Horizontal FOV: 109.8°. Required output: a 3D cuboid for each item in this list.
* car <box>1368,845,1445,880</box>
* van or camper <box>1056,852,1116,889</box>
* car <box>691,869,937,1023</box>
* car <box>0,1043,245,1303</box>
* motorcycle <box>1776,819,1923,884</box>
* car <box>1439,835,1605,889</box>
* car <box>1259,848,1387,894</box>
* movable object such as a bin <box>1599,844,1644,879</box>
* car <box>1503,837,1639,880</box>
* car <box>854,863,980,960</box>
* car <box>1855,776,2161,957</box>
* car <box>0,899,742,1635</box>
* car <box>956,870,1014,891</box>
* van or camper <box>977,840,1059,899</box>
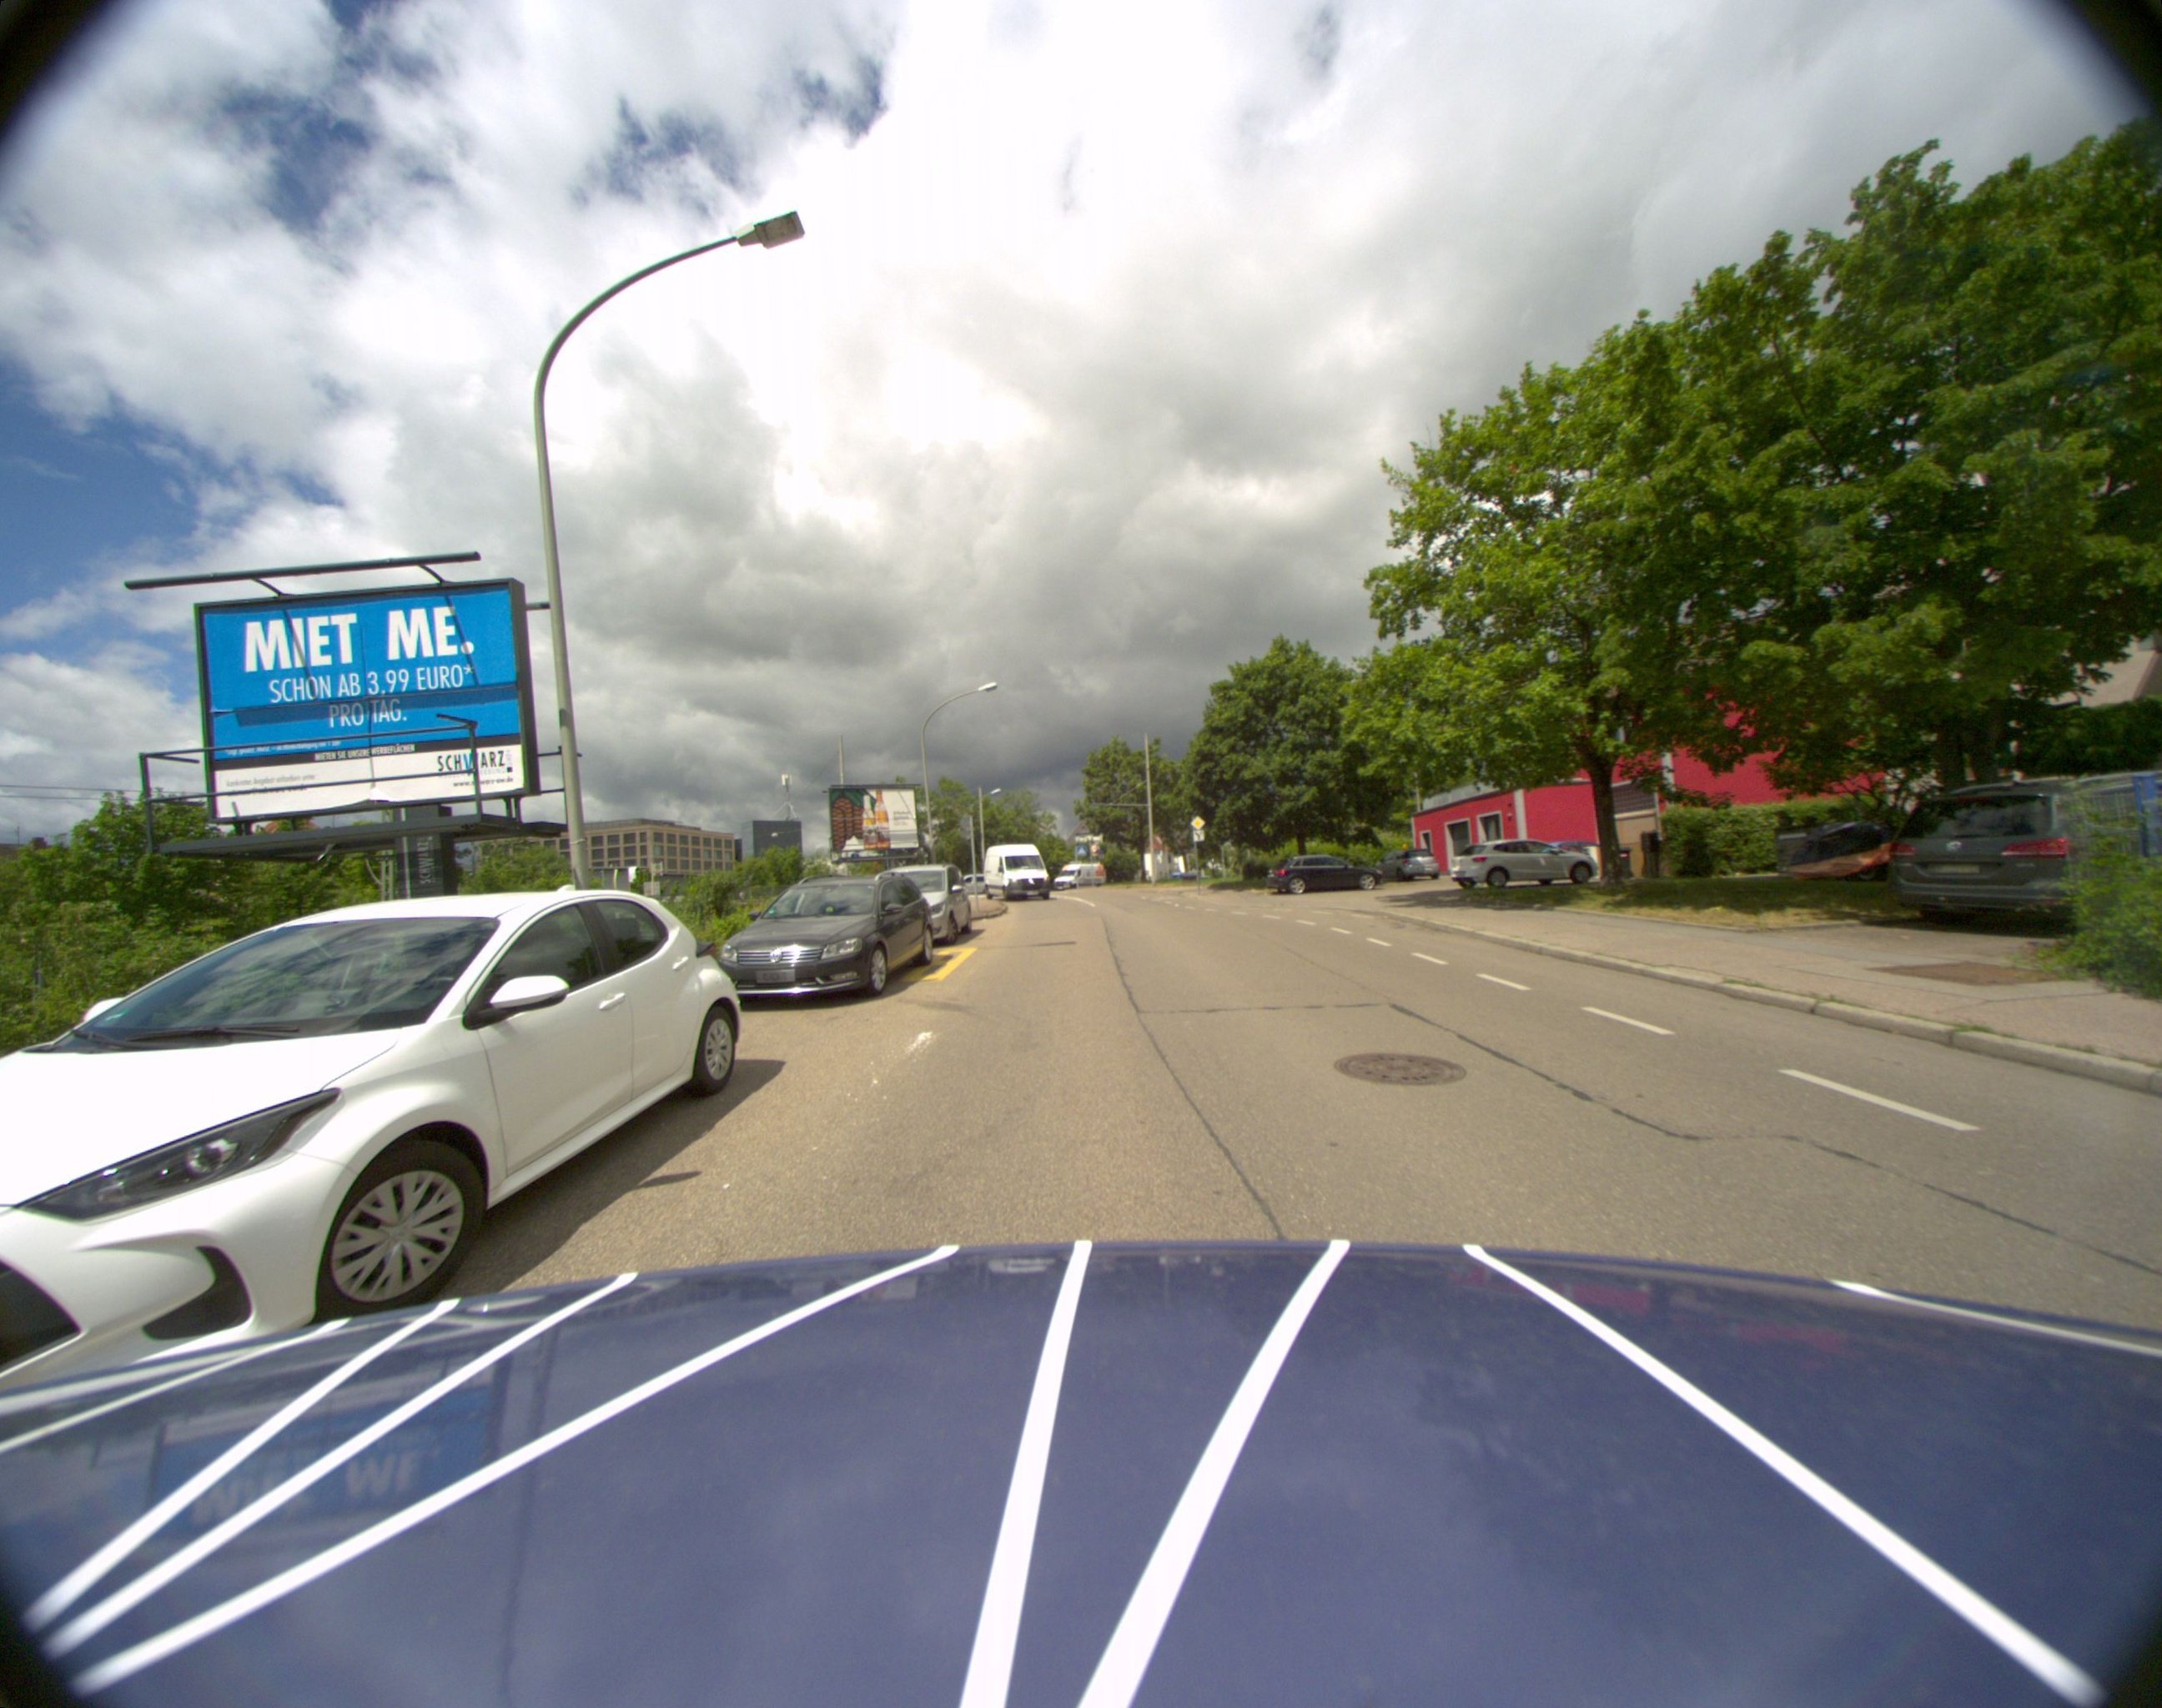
[{"bbox_3d":[14.836,0.407,34.858,1.644,1.417,4.078,-4,-1,-1],"label":"car"},{"bbox_3d":[0.598,1.697,72.891,2.267,2.975,8.347,-5,-6,26],"label":"van or camper"},{"bbox_3d":[-3.255,1.013,10.323,1.710,1.478,4.573,-4,-1,-1],"label":"car"},{"bbox_3d":[-8.721,2.560,5.267,1.710,1.501,3.696,-4,-1,-1],"label":"car"},{"bbox_3d":[17.227,-0.034,17.135,0.920,1.308,2.235,-4,0,-2],"label":"motorcycle"},{"bbox_3d":[13.271,0.239,22.999,3.930,1.395,1.876,-3,-1,-4],"label":"car"},{"bbox_3d":[9.143,0.660,28.919,4.141,1.385,2.000,-4,-1,-1],"label":"car"},{"bbox_3d":[17.300,0.239,24.348,0.757,1.055,0.881,-4,0,3],"label":"movable object such as a bin"},{"bbox_3d":[18.074,0.194,28.154,3.811,1.369,1.843,-3,-1,0],"label":"car"},{"bbox_3d":[-3.316,1.092,16.215,1.710,1.668,4.308,-4,-1,-1],"label":"car"},{"bbox_3d":[12.207,-0.006,8.682,4.711,1.706,1.999,-4,1,-1],"label":"car"},{"bbox_3d":[-3.357,1.102,3.646,1.710,1.470,3.957,-4,-1,-2],"label":"car"},{"bbox_3d":[-8.123,2.271,64.192,4.410,1.577,1.996,0,-4,-38],"label":"car"},{"bbox_3d":[-3.066,0.819,35.608,2.196,2.550,5.921,-1,-3,-21],"label":"van or camper"}]
